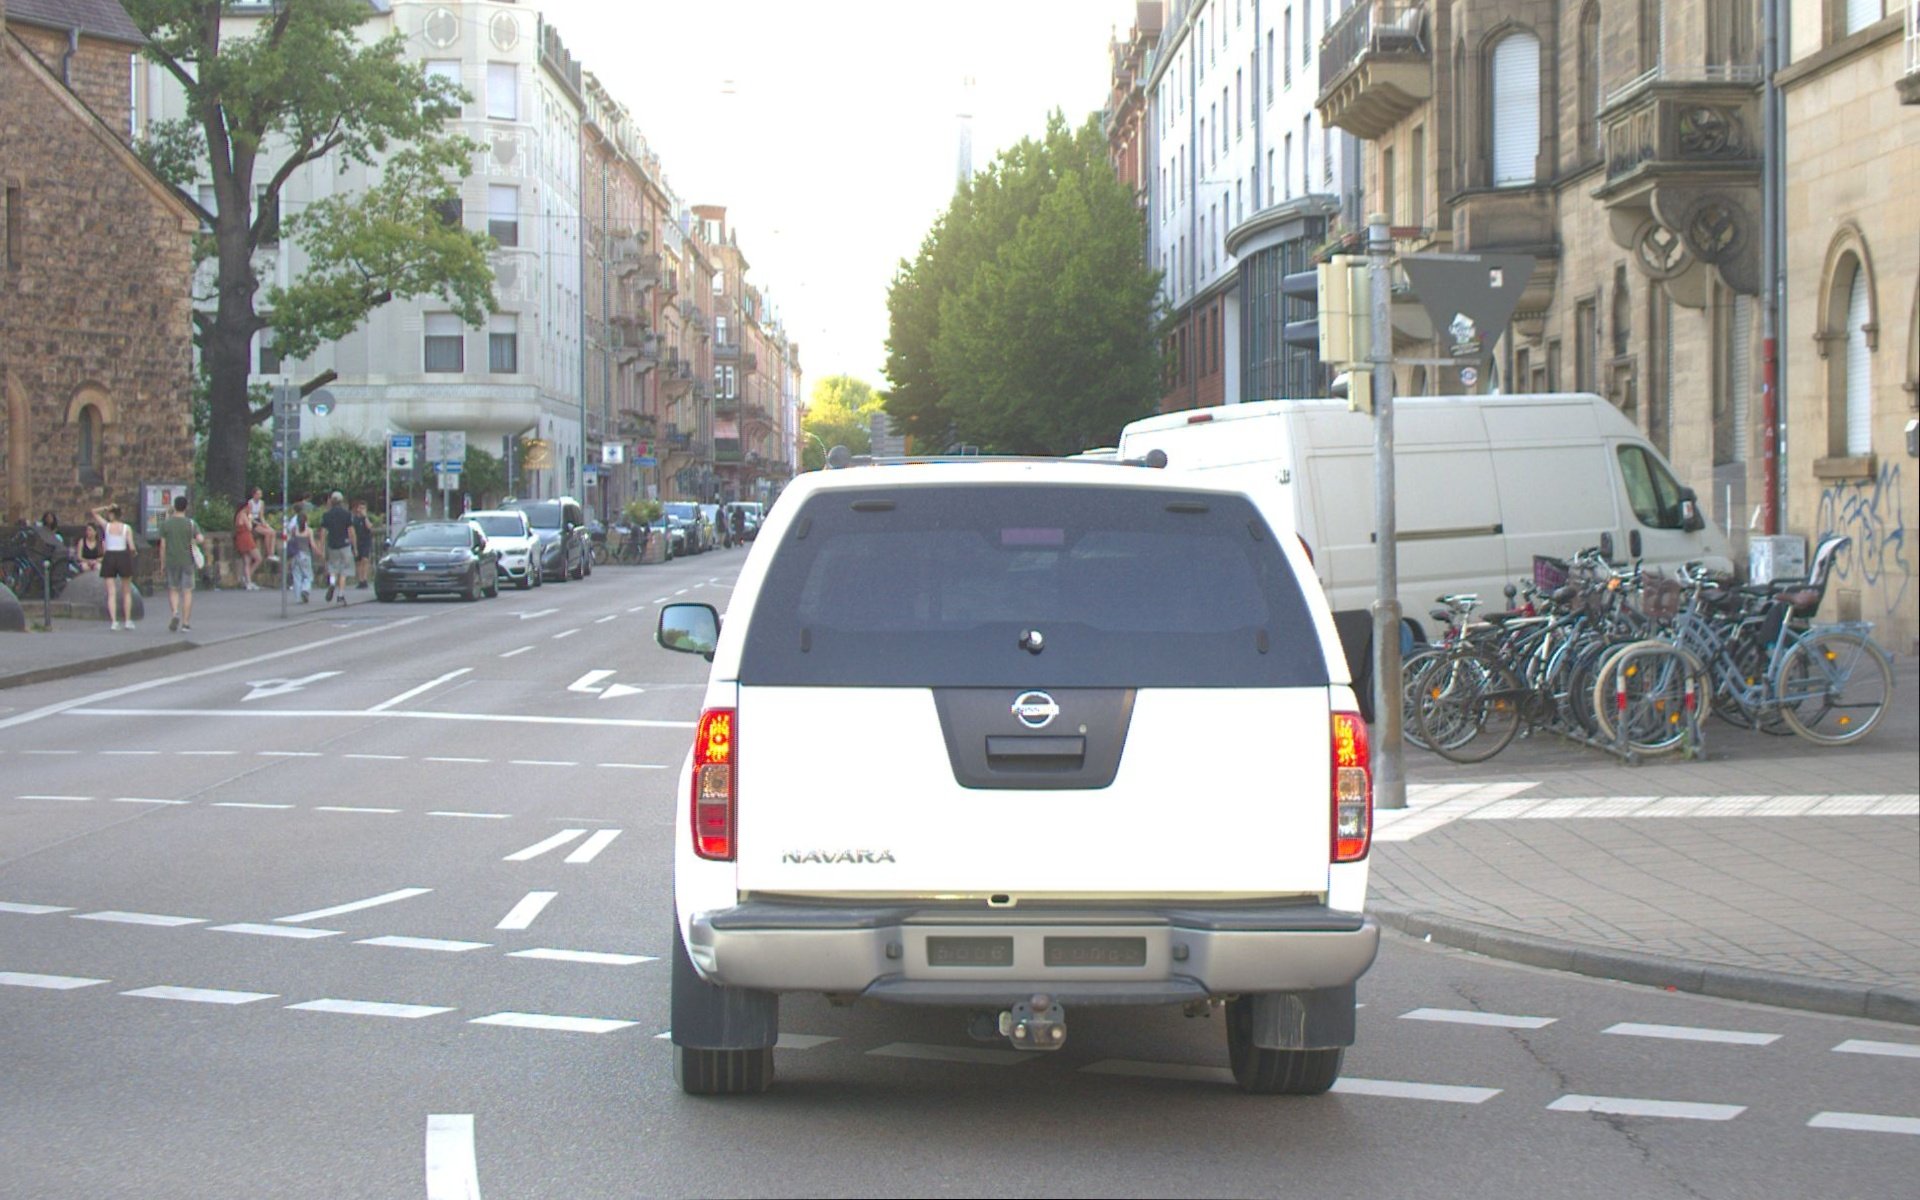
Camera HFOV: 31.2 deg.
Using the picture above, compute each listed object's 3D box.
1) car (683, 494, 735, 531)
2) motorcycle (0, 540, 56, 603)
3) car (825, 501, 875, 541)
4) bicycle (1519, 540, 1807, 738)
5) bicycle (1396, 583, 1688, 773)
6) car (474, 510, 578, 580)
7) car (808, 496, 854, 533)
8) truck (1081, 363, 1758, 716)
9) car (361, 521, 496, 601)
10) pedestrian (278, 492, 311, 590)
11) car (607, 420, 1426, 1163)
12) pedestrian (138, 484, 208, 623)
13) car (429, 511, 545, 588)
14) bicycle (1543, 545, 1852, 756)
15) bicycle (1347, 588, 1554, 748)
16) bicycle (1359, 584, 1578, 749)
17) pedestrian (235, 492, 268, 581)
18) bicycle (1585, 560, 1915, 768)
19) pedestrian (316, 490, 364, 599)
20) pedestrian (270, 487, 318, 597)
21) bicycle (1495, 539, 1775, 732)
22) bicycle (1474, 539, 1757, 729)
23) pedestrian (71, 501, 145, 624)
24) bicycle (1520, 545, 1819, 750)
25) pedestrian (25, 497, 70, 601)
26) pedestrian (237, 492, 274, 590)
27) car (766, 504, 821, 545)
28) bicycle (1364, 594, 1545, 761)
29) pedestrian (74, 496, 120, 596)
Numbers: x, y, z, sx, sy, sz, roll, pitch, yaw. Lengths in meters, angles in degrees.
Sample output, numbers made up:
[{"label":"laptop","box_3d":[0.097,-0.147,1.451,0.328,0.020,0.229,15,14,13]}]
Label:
[{"label":"car","box_3d":[-10.468,-3.655,143.643,1.858,1.524,4.000,1,1,0]},{"label":"motorcycle","box_3d":[-15.637,-0.477,55.298,2.167,0.984,0.593,1,1,21]},{"label":"car","box_3d":[-4.338,-3.121,135.602,1.858,1.524,4.000,1,1,0]},{"label":"bicycle","box_3d":[4.797,0.259,23.504,1.817,1.233,0.412,-3,1,-1]},{"label":"bicycle","box_3d":[3.652,0.484,21.616,1.726,1.079,0.317,-3,1,-1]},{"label":"car","box_3d":[-9.758,-1.254,77.528,1.858,1.524,4.000,1,1,0]},{"label":"car","box_3d":[-5.479,-3.621,145.925,1.920,1.524,4.001,1,1,-2]},{"label":"truck","box_3d":[3.804,-0.502,27.689,5.658,2.556,2.287,-1,2,-42]},{"label":"car","box_3d":[-9.658,-0.727,62.754,1.858,1.393,4.000,1,1,0]},{"label":"pedestrian","box_3d":[-12.676,-1.132,65.527,0.560,1.849,0.645,1,1,-7]},{"label":"car","box_3d":[0.151,0.431,10.481,1.993,1.803,4.000,1,1,0]},{"label":"pedestrian","box_3d":[-10.849,-0.646,47.415,0.812,1.894,0.666,1,1,-1]},{"label":"car","box_3d":[-9.726,-1.047,70.947,1.858,1.524,4.000,1,1,0]},{"label":"bicycle","box_3d":[4.725,0.317,22.068,1.817,1.233,0.488,-3,1,-1]},{"label":"bicycle","box_3d":[3.387,0.466,23.763,1.333,1.021,0.317,-3,1,-1]},{"label":"bicycle","box_3d":[3.430,0.445,23.215,1.371,1.021,0.317,-3,1,-1]},{"label":"pedestrian","box_3d":[-13.581,-1.219,65.904,0.560,1.689,0.645,1,1,-7]},{"label":"bicycle","box_3d":[4.843,0.382,21.127,1.817,1.146,0.636,-3,1,-1]},{"label":"pedestrian","box_3d":[-10.558,-0.945,58.513,0.642,1.849,0.562,0,1,-28]},{"label":"pedestrian","box_3d":[-11.291,-0.978,58.283,0.642,1.849,0.562,0,1,-28]},{"label":"bicycle","box_3d":[4.729,0.246,24.110,1.817,1.233,0.410,-3,1,-1]},{"label":"bicycle","box_3d":[4.690,0.236,24.642,1.855,1.233,0.531,-3,1,-1]},{"label":"pedestrian","box_3d":[-11.700,-0.519,47.240,0.812,1.664,0.860,1,1,-1]},{"label":"bicycle","box_3d":[4.691,0.307,22.780,1.817,1.233,0.478,-3,1,-1]},{"label":"pedestrian","box_3d":[-15.066,-0.844,56.791,0.642,1.689,0.562,1,1,-8]},{"label":"pedestrian","box_3d":[-13.337,-1.115,65.062,0.642,1.849,0.562,0,1,-14]},{"label":"car","box_3d":[-6.427,-2.932,133.261,1.858,1.524,4.000,1,1,1]},{"label":"bicycle","box_3d":[3.235,0.505,22.508,1.077,1.021,0.317,-3,1,-1]},{"label":"pedestrian","box_3d":[-14.831,-0.930,59.088,0.643,1.689,0.562,1,1,0]}]
